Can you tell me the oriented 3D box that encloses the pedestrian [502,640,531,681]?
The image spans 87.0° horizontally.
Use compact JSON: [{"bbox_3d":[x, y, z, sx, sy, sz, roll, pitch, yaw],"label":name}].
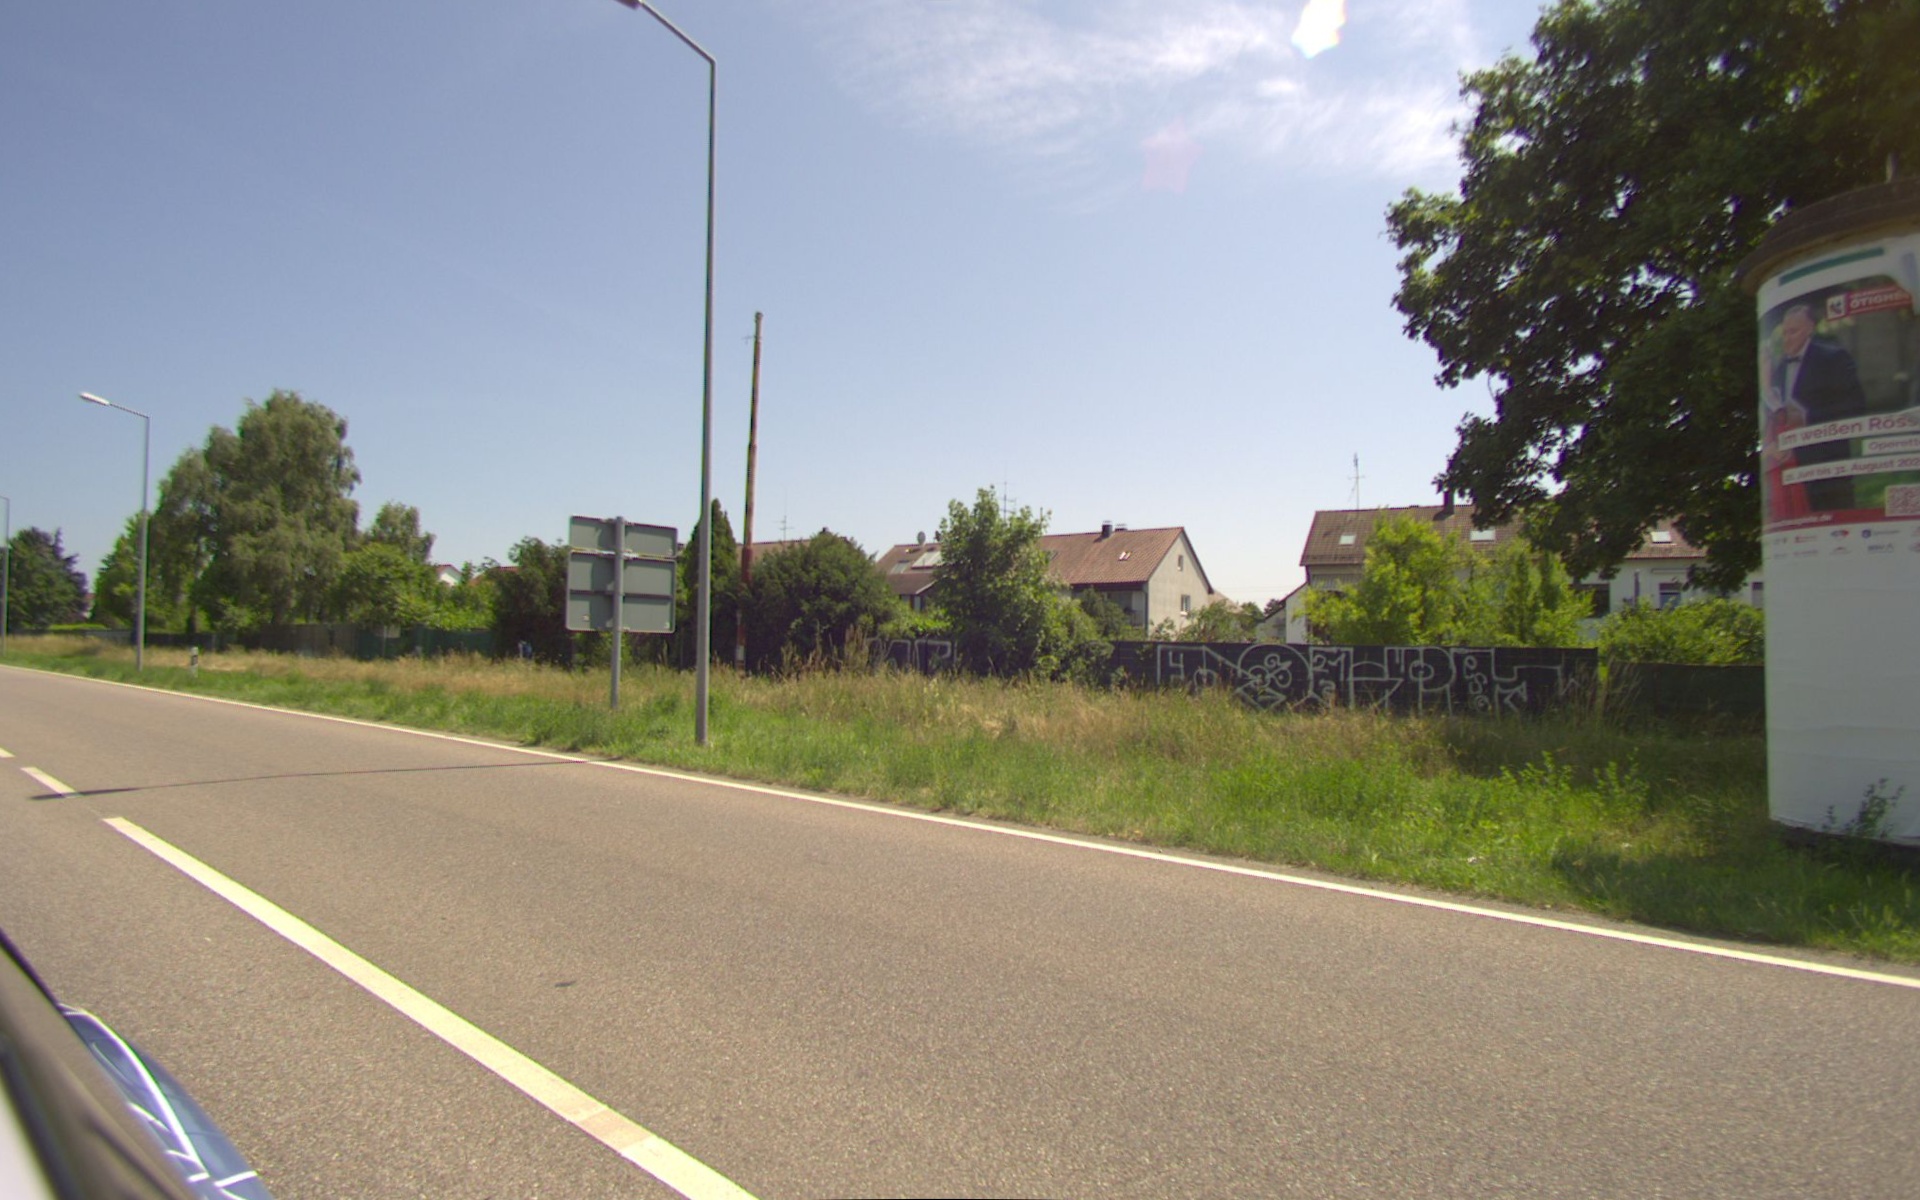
[{"bbox_3d":[-15.069,2.060,34.388,0.798,1.365,0.575,-2,-3,41],"label":"pedestrian"}]
